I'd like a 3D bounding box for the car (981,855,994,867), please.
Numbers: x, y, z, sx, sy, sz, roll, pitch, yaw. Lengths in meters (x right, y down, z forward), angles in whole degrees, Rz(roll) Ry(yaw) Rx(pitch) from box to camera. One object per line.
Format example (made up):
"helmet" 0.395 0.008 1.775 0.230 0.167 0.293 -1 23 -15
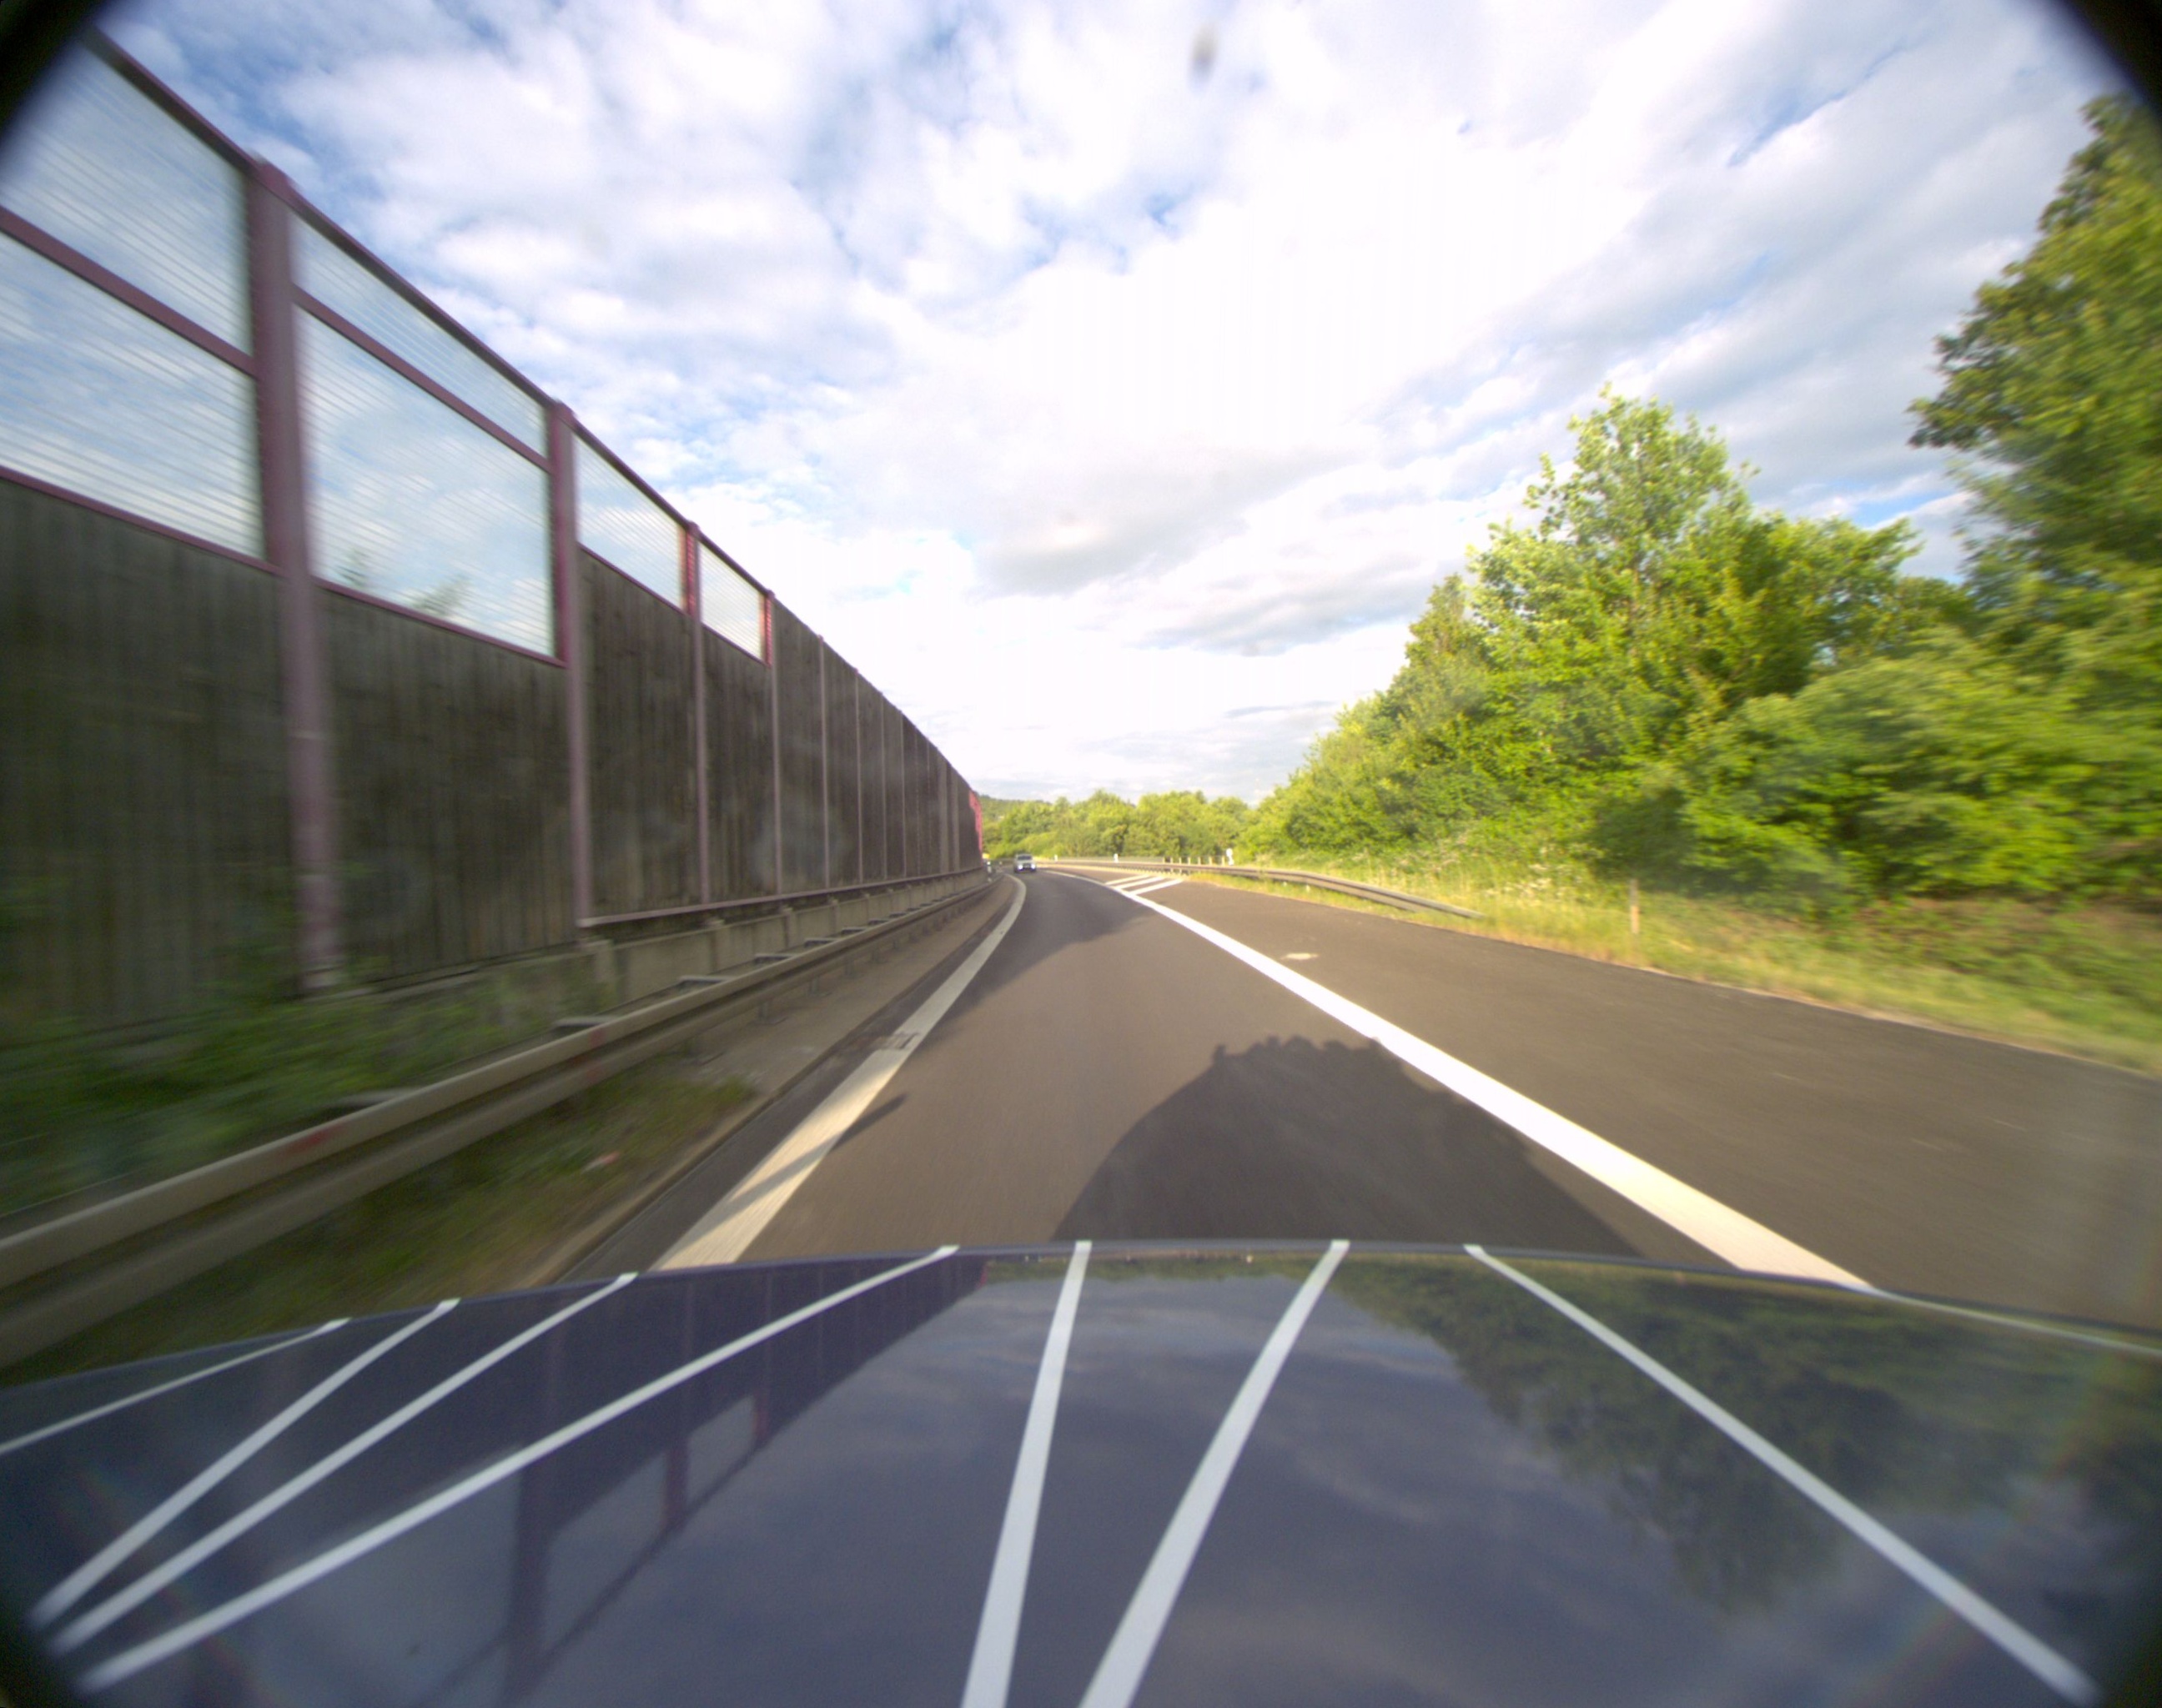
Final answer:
"car" -14.270 1.090 115.401 1.808 1.707 3.997 -1 0 -8

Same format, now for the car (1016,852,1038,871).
"car" -5.178 0.718 73.371 1.905 1.655 3.999 -2 0 -3
